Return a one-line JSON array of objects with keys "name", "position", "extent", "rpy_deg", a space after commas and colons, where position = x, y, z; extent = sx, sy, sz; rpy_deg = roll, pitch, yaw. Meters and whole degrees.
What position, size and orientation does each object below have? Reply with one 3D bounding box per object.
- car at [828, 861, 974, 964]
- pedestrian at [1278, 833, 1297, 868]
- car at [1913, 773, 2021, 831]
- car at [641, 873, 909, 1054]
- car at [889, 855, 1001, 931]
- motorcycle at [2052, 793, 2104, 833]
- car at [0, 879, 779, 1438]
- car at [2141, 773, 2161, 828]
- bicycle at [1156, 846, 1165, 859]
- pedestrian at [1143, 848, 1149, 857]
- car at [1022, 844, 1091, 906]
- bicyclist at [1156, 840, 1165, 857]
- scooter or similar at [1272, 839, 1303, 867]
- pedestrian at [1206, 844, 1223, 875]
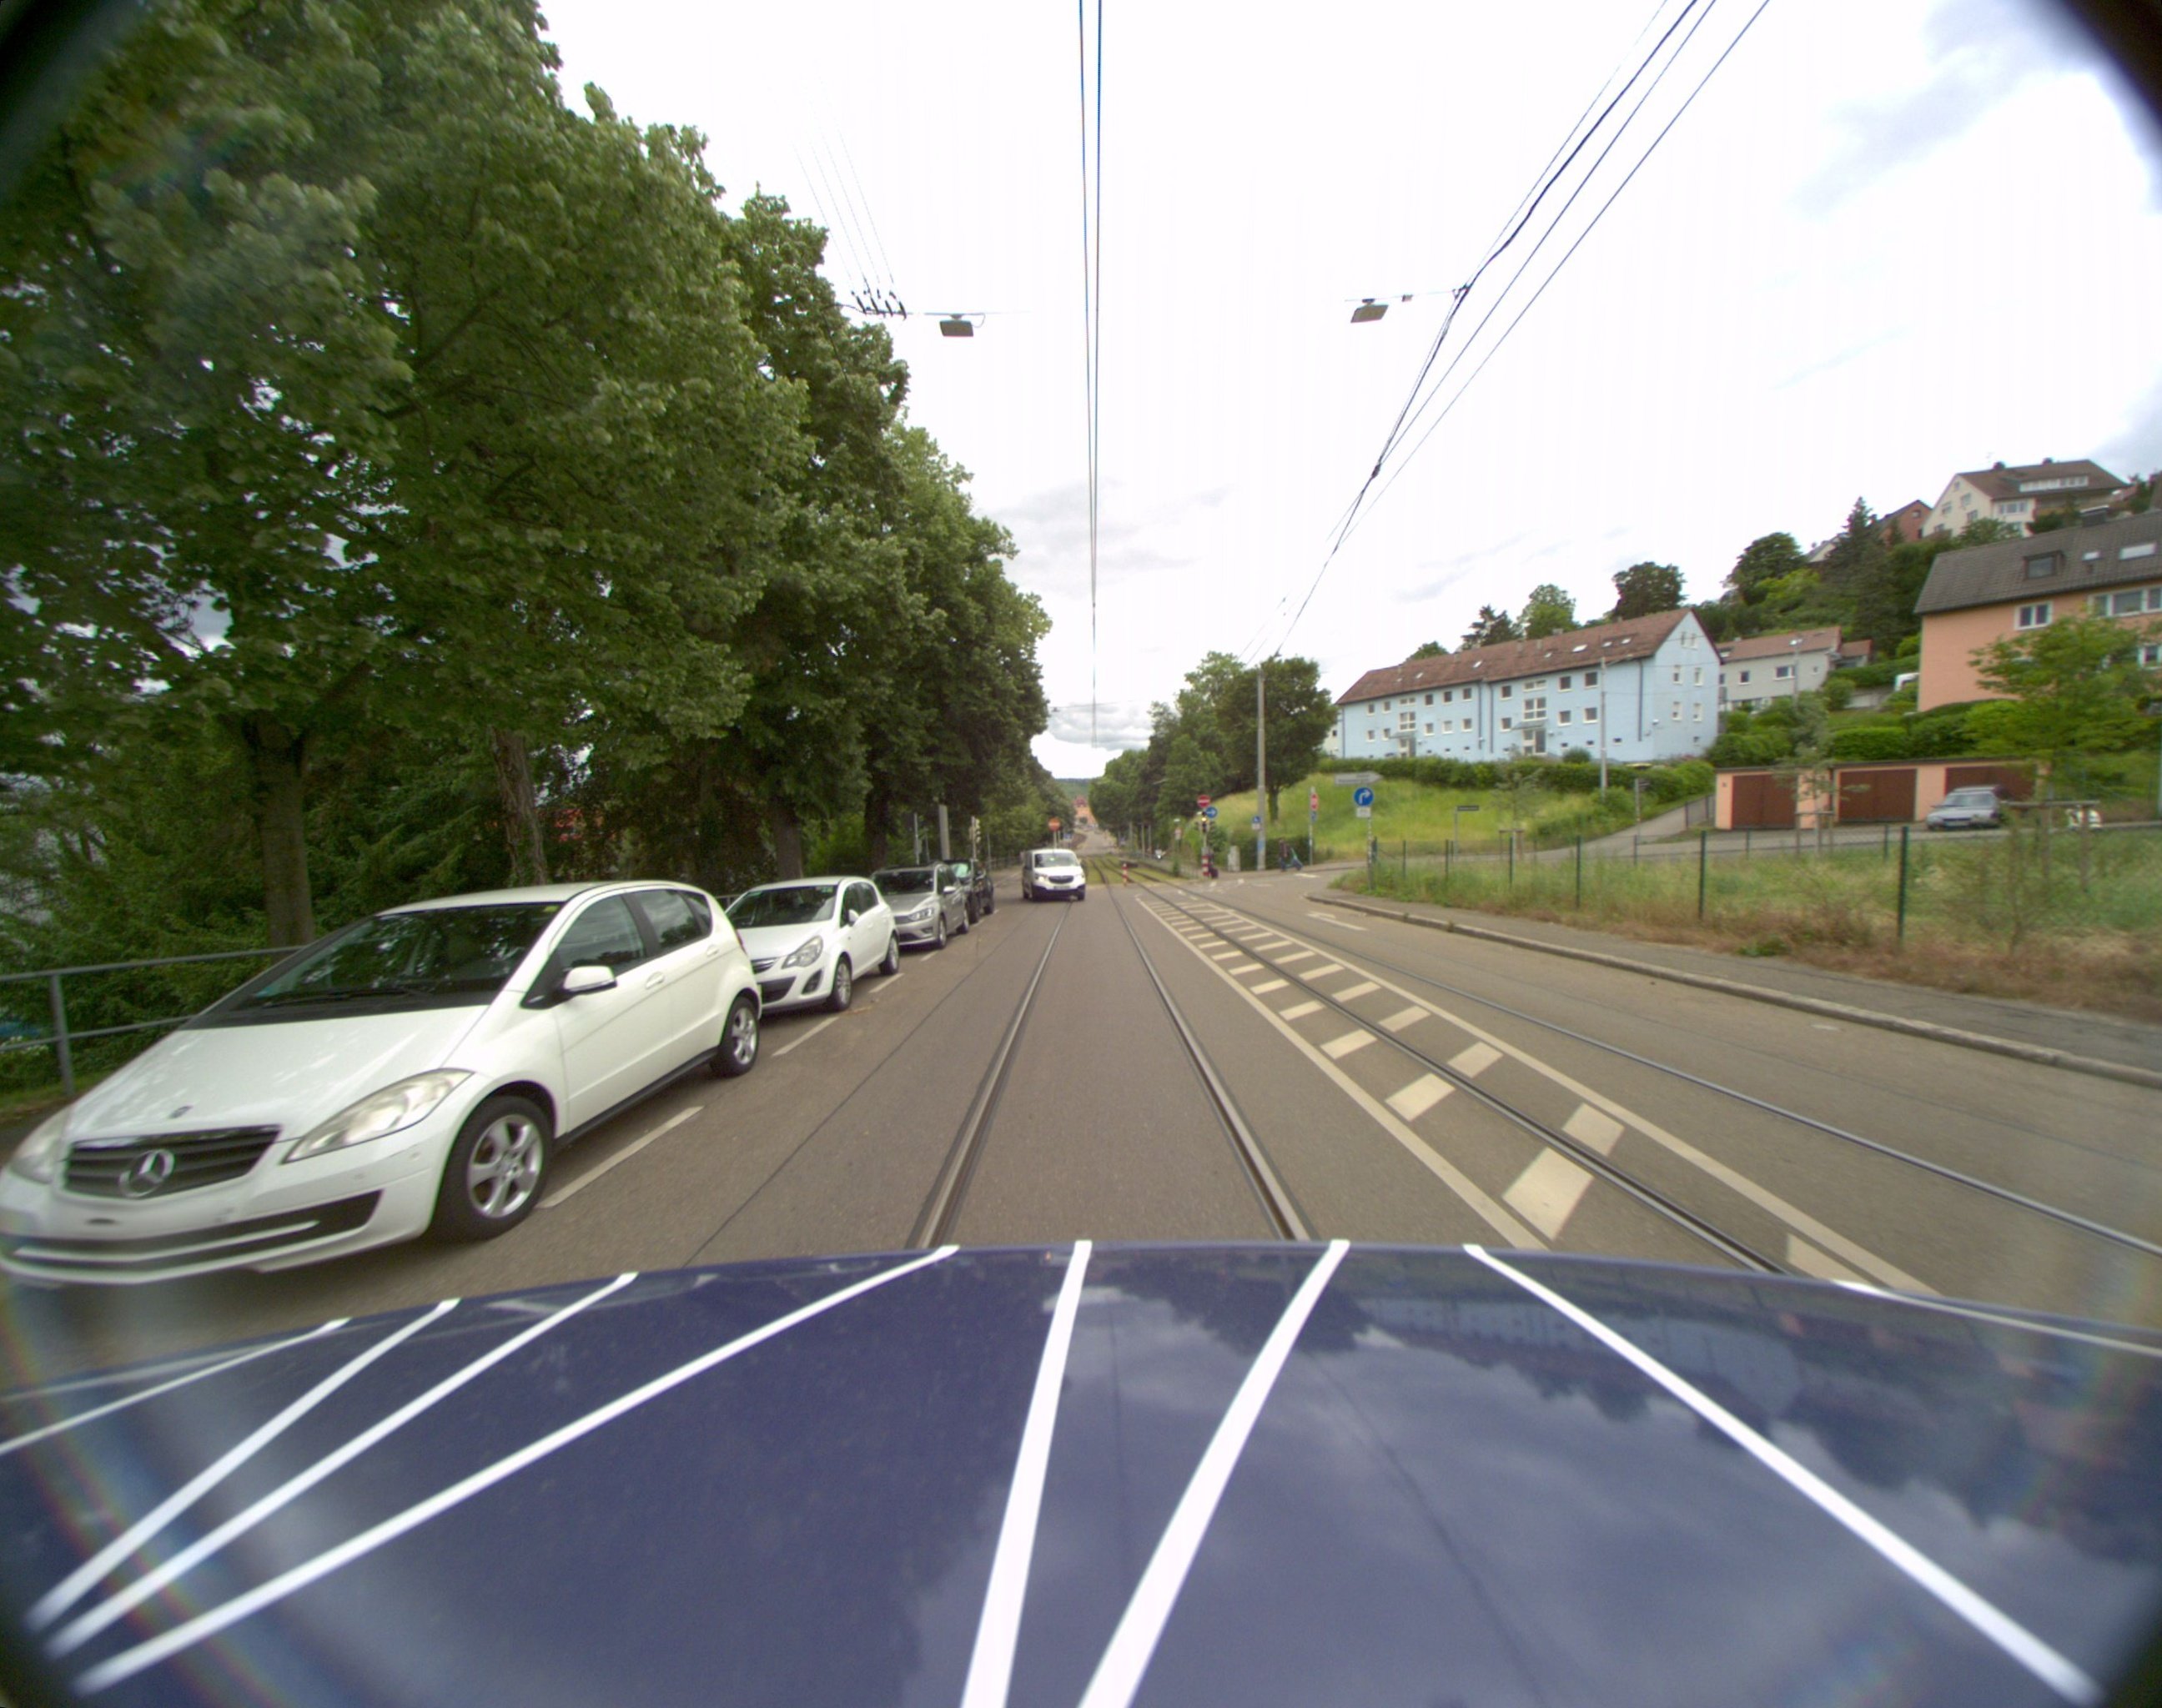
[{"name": "car", "position": [-3.346, 1.005, 15.028], "extent": [1.738, 1.566, 4.364], "rpy_deg": [-3, 1, 0]}, {"name": "pedestrian", "position": [10.583, -0.176, 38.986], "extent": [0.901, 1.740, 0.743], "rpy_deg": [-2, 2, 14]}, {"name": "car", "position": [34.110, -2.009, 29.215], "extent": [4.885, 1.604, 1.995], "rpy_deg": [-9, 5, -32]}, {"name": "car", "position": [-3.454, 1.123, 9.475], "extent": [1.633, 1.508, 4.063], "rpy_deg": [-5, 1, -1]}, {"name": "car", "position": [-3.441, 0.928, 20.111], "extent": [1.909, 1.606, 4.600], "rpy_deg": [-3, 1, 2]}, {"name": "motorcycle", "position": [32.114, -1.337, 24.494], "extent": [0.520, 1.151, 1.707], "rpy_deg": [-1, 6, 36]}, {"name": "car", "position": [-3.556, 1.123, 4.583], "extent": [1.730, 1.622, 4.087], "rpy_deg": [-6, 1, -1]}, {"name": "car", "position": [35.057, -1.827, 22.124], "extent": [4.440, 1.680, 1.980], "rpy_deg": [-6, 0, 38]}, {"name": "bicycle", "position": [7.951, -0.187, 75.658], "extent": [0.752, 1.233, 2.867], "rpy_deg": [-3, 0, 4]}, {"name": "pedestrian", "position": [10.035, -0.271, 117.245], "extent": [0.823, 1.315, 0.774], "rpy_deg": [-3, 2, -5]}, {"name": "car", "position": [-0.967, 0.635, 26.931], "extent": [1.811, 1.910, 4.473], "rpy_deg": [-3, 2, -9]}, {"name": "bicyclist", "position": [7.965, -0.526, 76.286], "extent": [0.706, 1.619, 1.032], "rpy_deg": [-3, 0, 4]}, {"name": "scooter or similar", "position": [10.951, -0.057, 40.318], "extent": [1.412, 1.282, 0.418], "rpy_deg": [-6, 2, 1]}, {"name": "pedestrian", "position": [6.864, 0.287, 39.029], "extent": [0.752, 1.565, 0.757], "rpy_deg": [-2, 2, 8]}]
